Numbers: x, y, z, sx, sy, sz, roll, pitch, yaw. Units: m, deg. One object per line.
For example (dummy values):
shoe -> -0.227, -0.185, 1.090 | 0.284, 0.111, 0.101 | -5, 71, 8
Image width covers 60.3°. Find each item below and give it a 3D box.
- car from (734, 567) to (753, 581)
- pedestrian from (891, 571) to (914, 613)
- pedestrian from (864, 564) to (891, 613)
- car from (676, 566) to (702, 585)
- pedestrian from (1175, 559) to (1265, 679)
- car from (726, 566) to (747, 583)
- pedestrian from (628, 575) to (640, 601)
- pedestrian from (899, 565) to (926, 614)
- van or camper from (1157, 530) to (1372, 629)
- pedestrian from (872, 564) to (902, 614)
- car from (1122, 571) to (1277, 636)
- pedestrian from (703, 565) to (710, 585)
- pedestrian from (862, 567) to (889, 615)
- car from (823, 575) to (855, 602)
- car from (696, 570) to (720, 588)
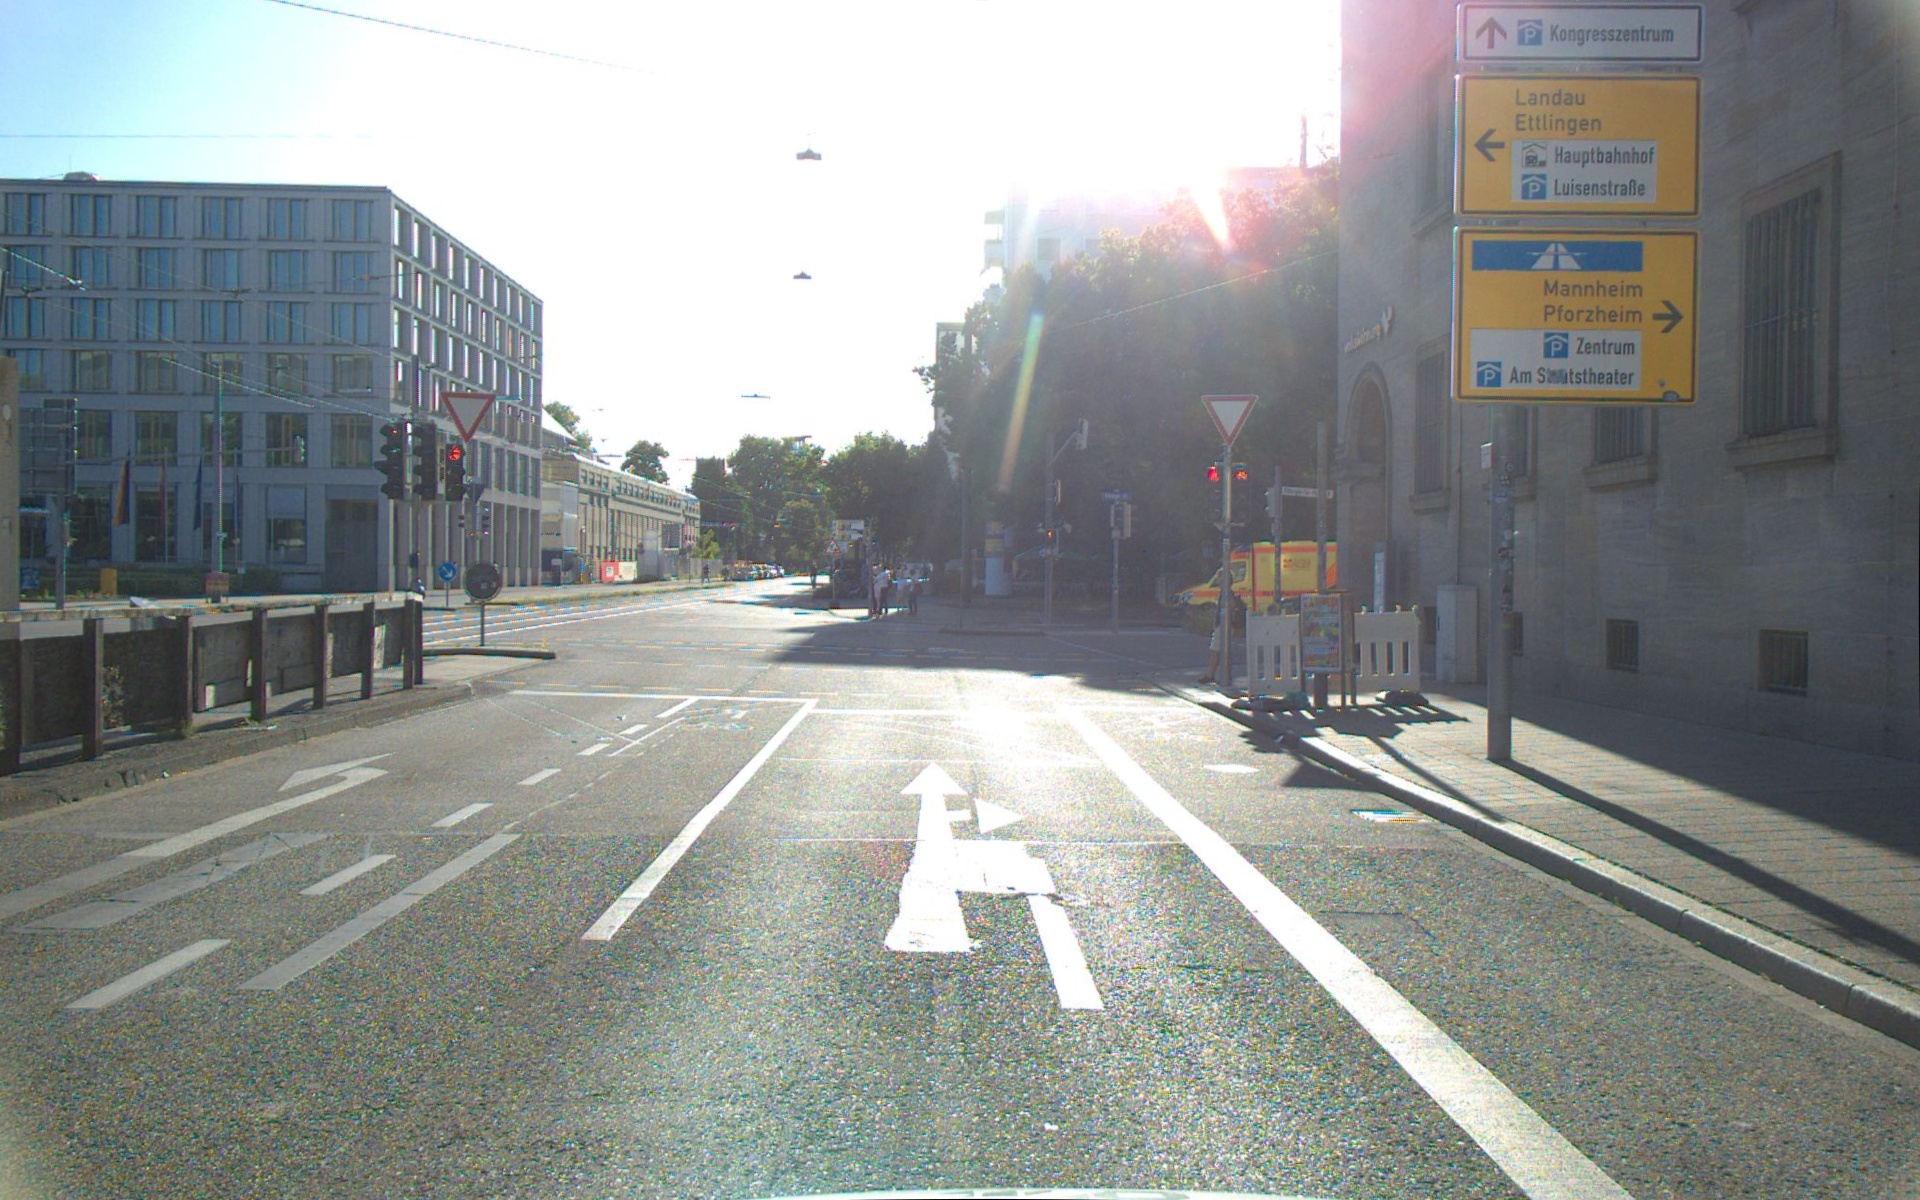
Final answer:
car -> -22.888, -2.740, 175.307 | 1.577, 1.524, 3.805 | 0, 1, -1
pedestrian -> -2.161, -0.304, 62.447 | 0.750, 1.586, 0.585 | 0, 0, -17
pedestrian -> -3.085, -0.430, 62.039 | 0.834, 1.815, 0.776 | 0, 0, -17
car -> -24.304, -2.201, 148.567 | 1.782, 1.742, 3.805 | 0, 1, -1
pedestrian -> 3.903, 0.273, 24.886 | 1.021, 1.751, 1.032 | 0, 0, -12
car -> -23.139, -2.668, 171.309 | 1.782, 1.742, 3.805 | 0, 1, -1
pedestrian -> -16.813, -0.612, 85.274 | 0.501, 1.352, 0.369 | 1, 0, 0
pedestrian -> -1.784, -0.405, 61.777 | 0.834, 1.815, 0.776 | 0, 0, -17
van or camper -> 9.924, -0.663, 54.412 | 6.568, 2.911, 2.912 | 2, 0, 3
pedestrian -> -2.673, -0.391, 60.571 | 0.951, 1.815, 0.776 | 0, 0, -17
car -> 7.006, 0.105, 48.670 | 4.226, 1.676, 1.887 | 2, 0, -1
pedestrian -> -20.126, -1.984, 131.294 | 0.513, 1.510, 0.437 | 2, -1, -2
pedestrian -> -3.217, -0.335, 62.867 | 0.834, 1.815, 0.776 | 0, 0, -17
car -> -7.134, -0.676, 97.975 | 1.650, 1.527, 3.508 | 2, 0, -1
car -> -24.335, -2.045, 159.537 | 1.782, 1.742, 3.805 | 0, 1, -1
